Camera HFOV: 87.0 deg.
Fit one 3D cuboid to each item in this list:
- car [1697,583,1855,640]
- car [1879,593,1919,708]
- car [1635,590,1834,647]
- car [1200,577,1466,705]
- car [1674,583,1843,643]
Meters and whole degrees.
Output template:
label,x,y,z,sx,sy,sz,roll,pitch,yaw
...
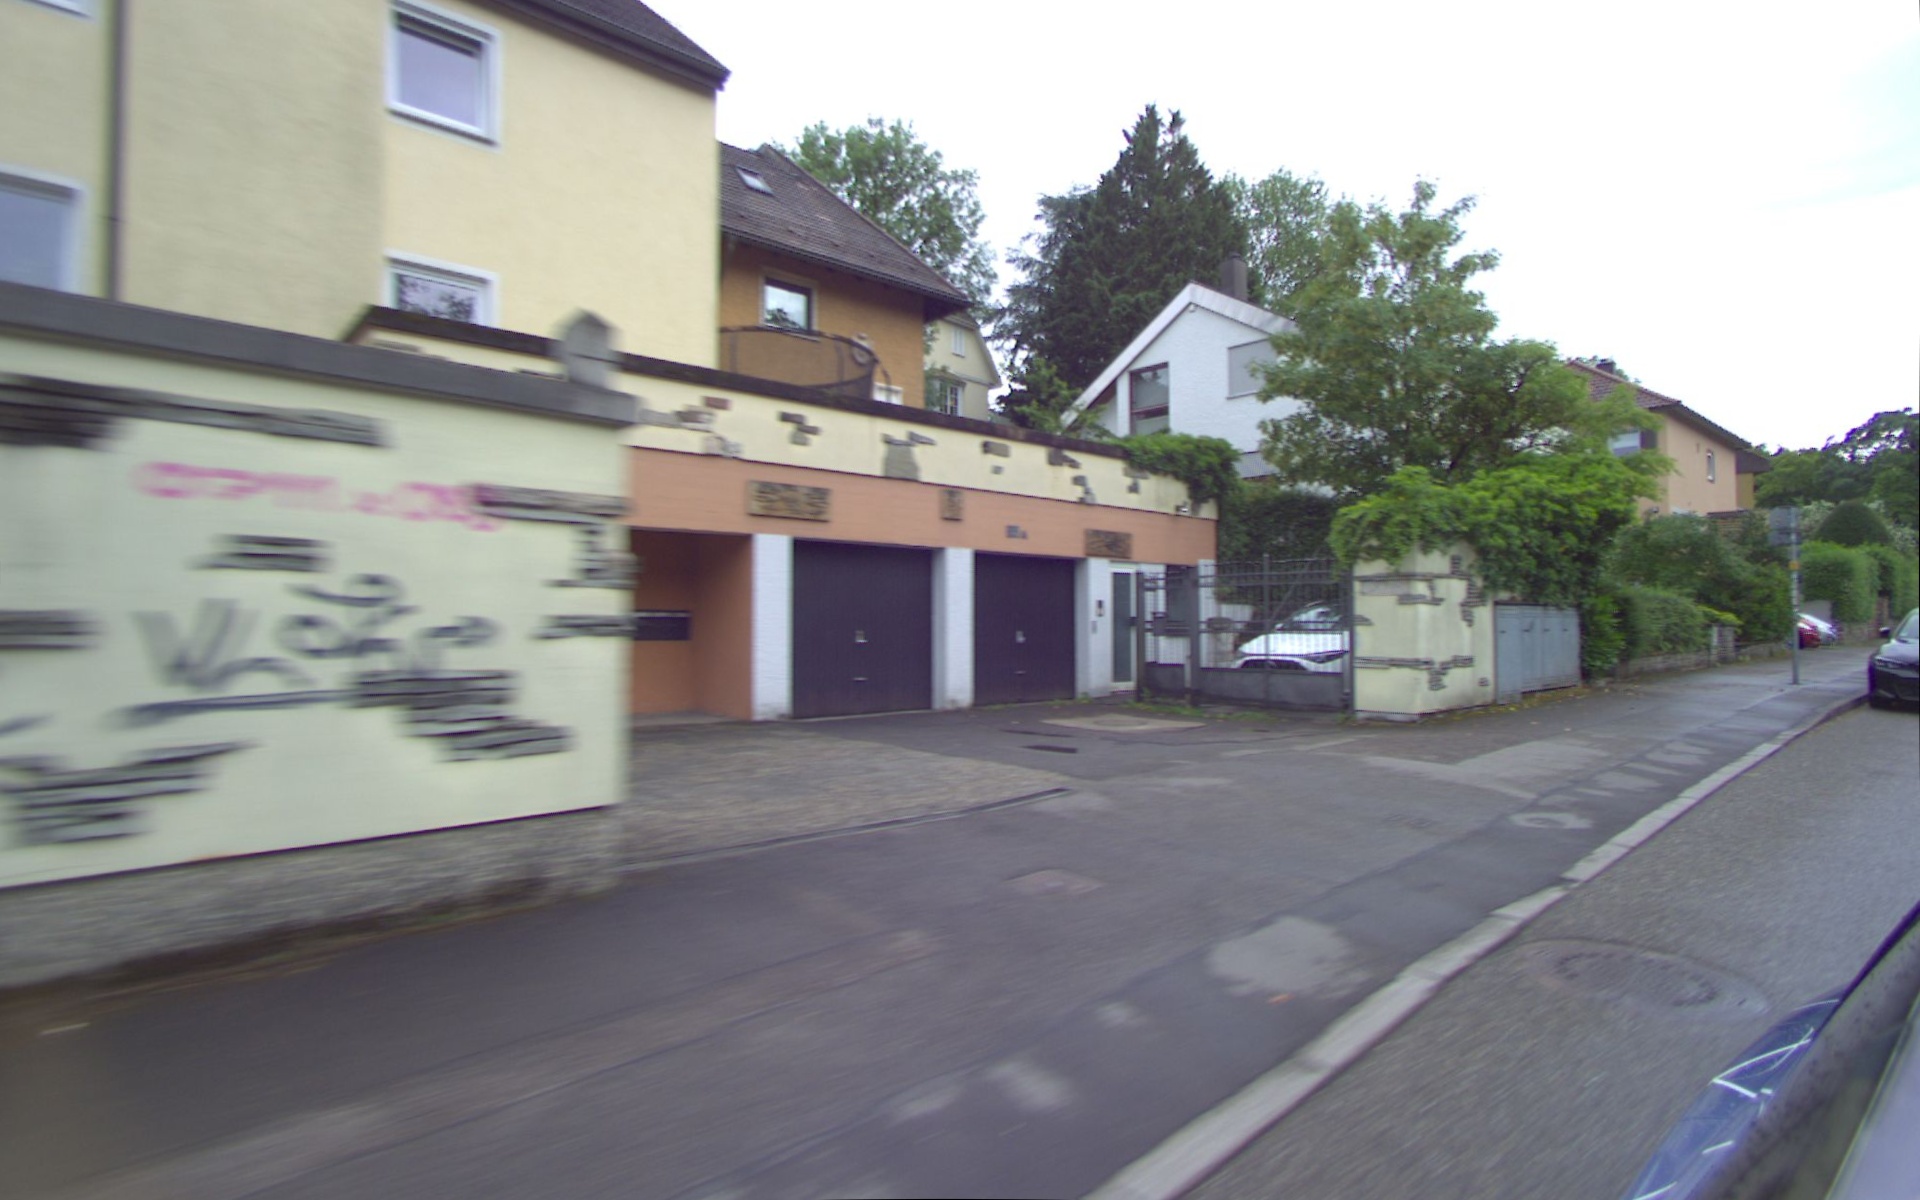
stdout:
label,x,y,z,sx,sy,sz,roll,pitch,yaw
car,25.848,0.318,32.110,1.798,1.555,3.662,0,3,-44
car,14.618,0.657,14.455,4.521,1.461,1.754,-1,1,-42
car,22.026,0.473,28.918,1.850,1.479,4.251,-1,1,-41
car,5.659,0.513,15.109,4.267,1.616,1.934,-1,0,-42
car,23.691,0.323,30.101,1.850,1.585,3.664,0,2,-41
